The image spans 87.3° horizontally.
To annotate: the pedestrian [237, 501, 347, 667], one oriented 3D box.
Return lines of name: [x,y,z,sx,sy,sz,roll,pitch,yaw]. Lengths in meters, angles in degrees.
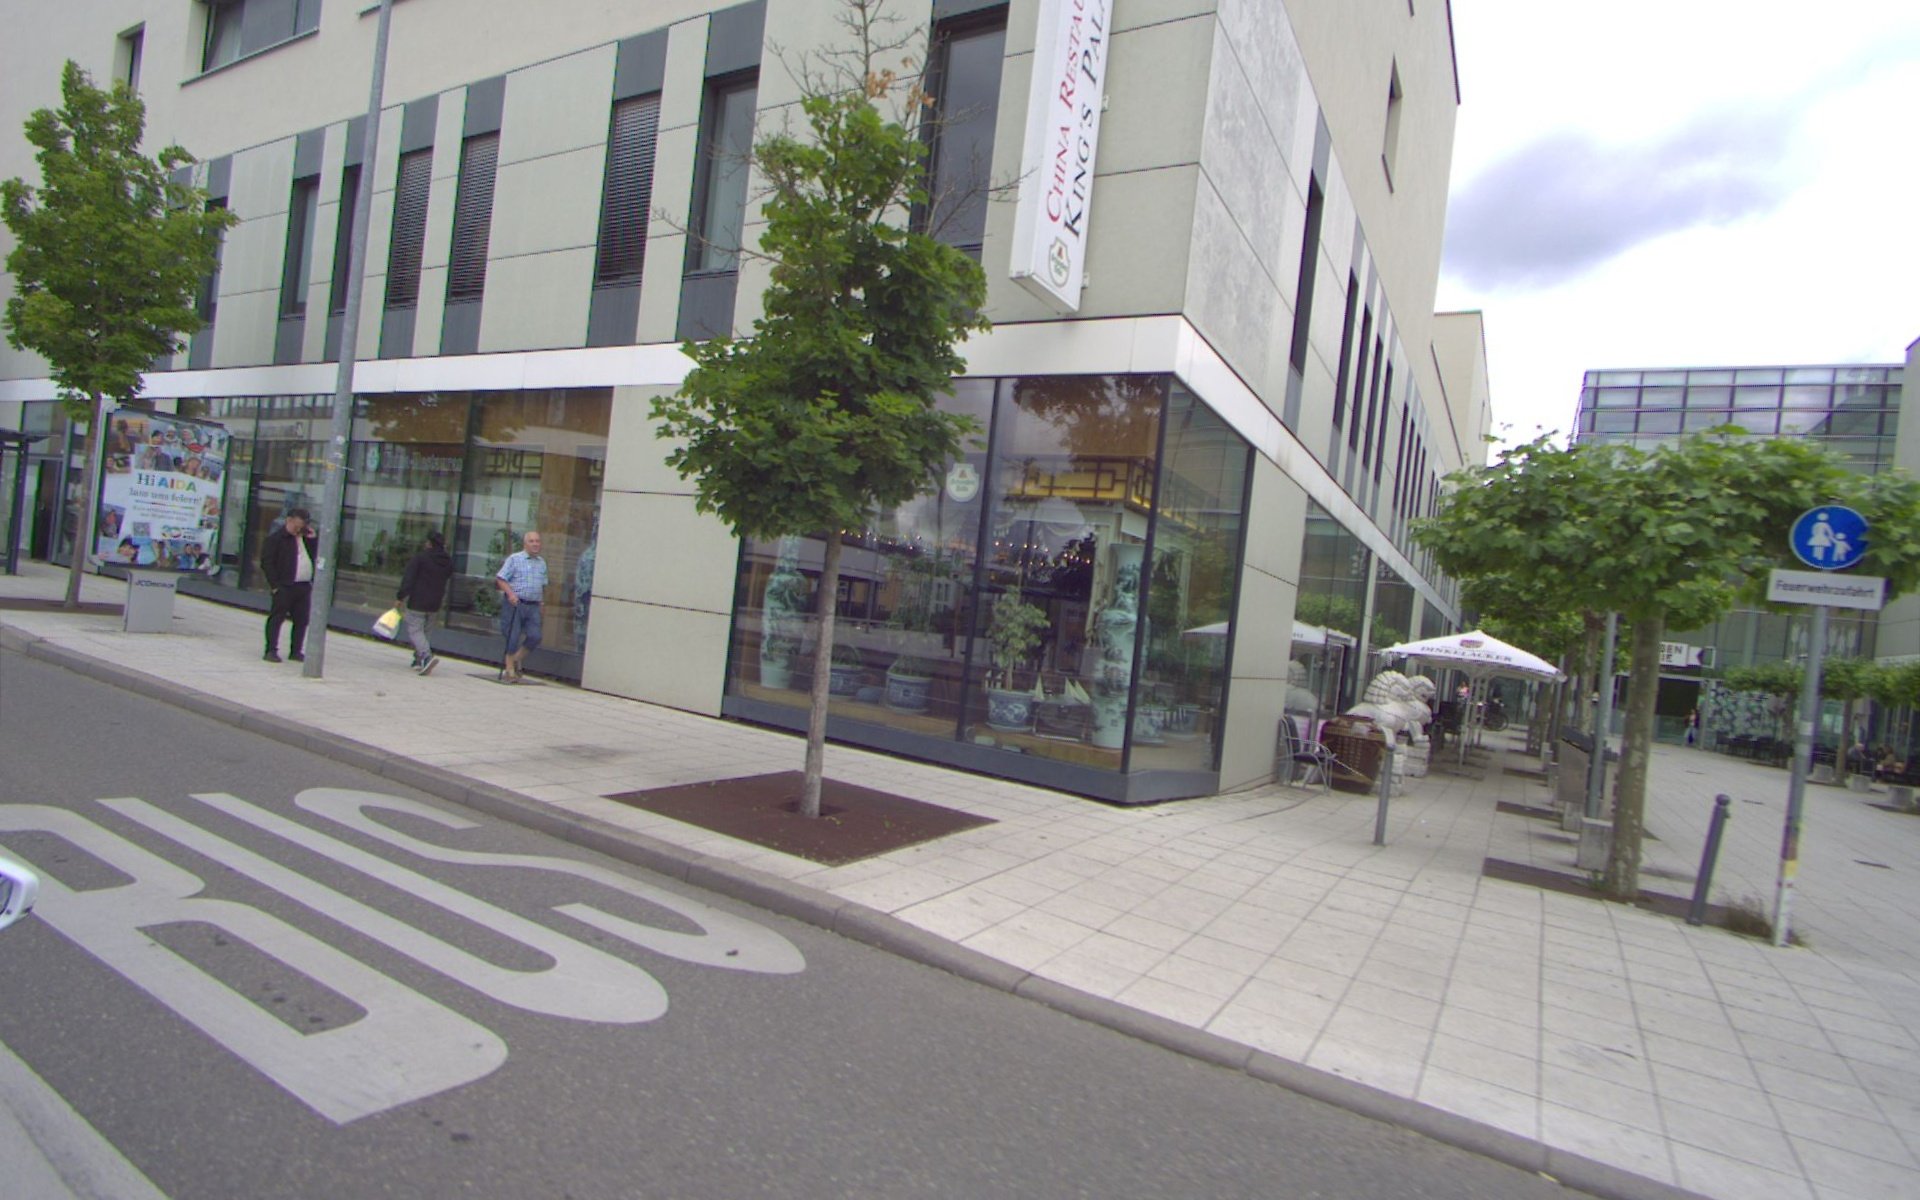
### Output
pedestrian: [-7.217,-0.162,10.883,0.604,1.689,0.656,7,1,31]

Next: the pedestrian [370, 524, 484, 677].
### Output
pedestrian: [-6.038,0.016,11.406,0.703,1.628,0.741,7,1,31]

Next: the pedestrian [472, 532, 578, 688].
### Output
pedestrian: [-4.983,0.128,11.550,0.604,1.689,0.745,7,1,31]
